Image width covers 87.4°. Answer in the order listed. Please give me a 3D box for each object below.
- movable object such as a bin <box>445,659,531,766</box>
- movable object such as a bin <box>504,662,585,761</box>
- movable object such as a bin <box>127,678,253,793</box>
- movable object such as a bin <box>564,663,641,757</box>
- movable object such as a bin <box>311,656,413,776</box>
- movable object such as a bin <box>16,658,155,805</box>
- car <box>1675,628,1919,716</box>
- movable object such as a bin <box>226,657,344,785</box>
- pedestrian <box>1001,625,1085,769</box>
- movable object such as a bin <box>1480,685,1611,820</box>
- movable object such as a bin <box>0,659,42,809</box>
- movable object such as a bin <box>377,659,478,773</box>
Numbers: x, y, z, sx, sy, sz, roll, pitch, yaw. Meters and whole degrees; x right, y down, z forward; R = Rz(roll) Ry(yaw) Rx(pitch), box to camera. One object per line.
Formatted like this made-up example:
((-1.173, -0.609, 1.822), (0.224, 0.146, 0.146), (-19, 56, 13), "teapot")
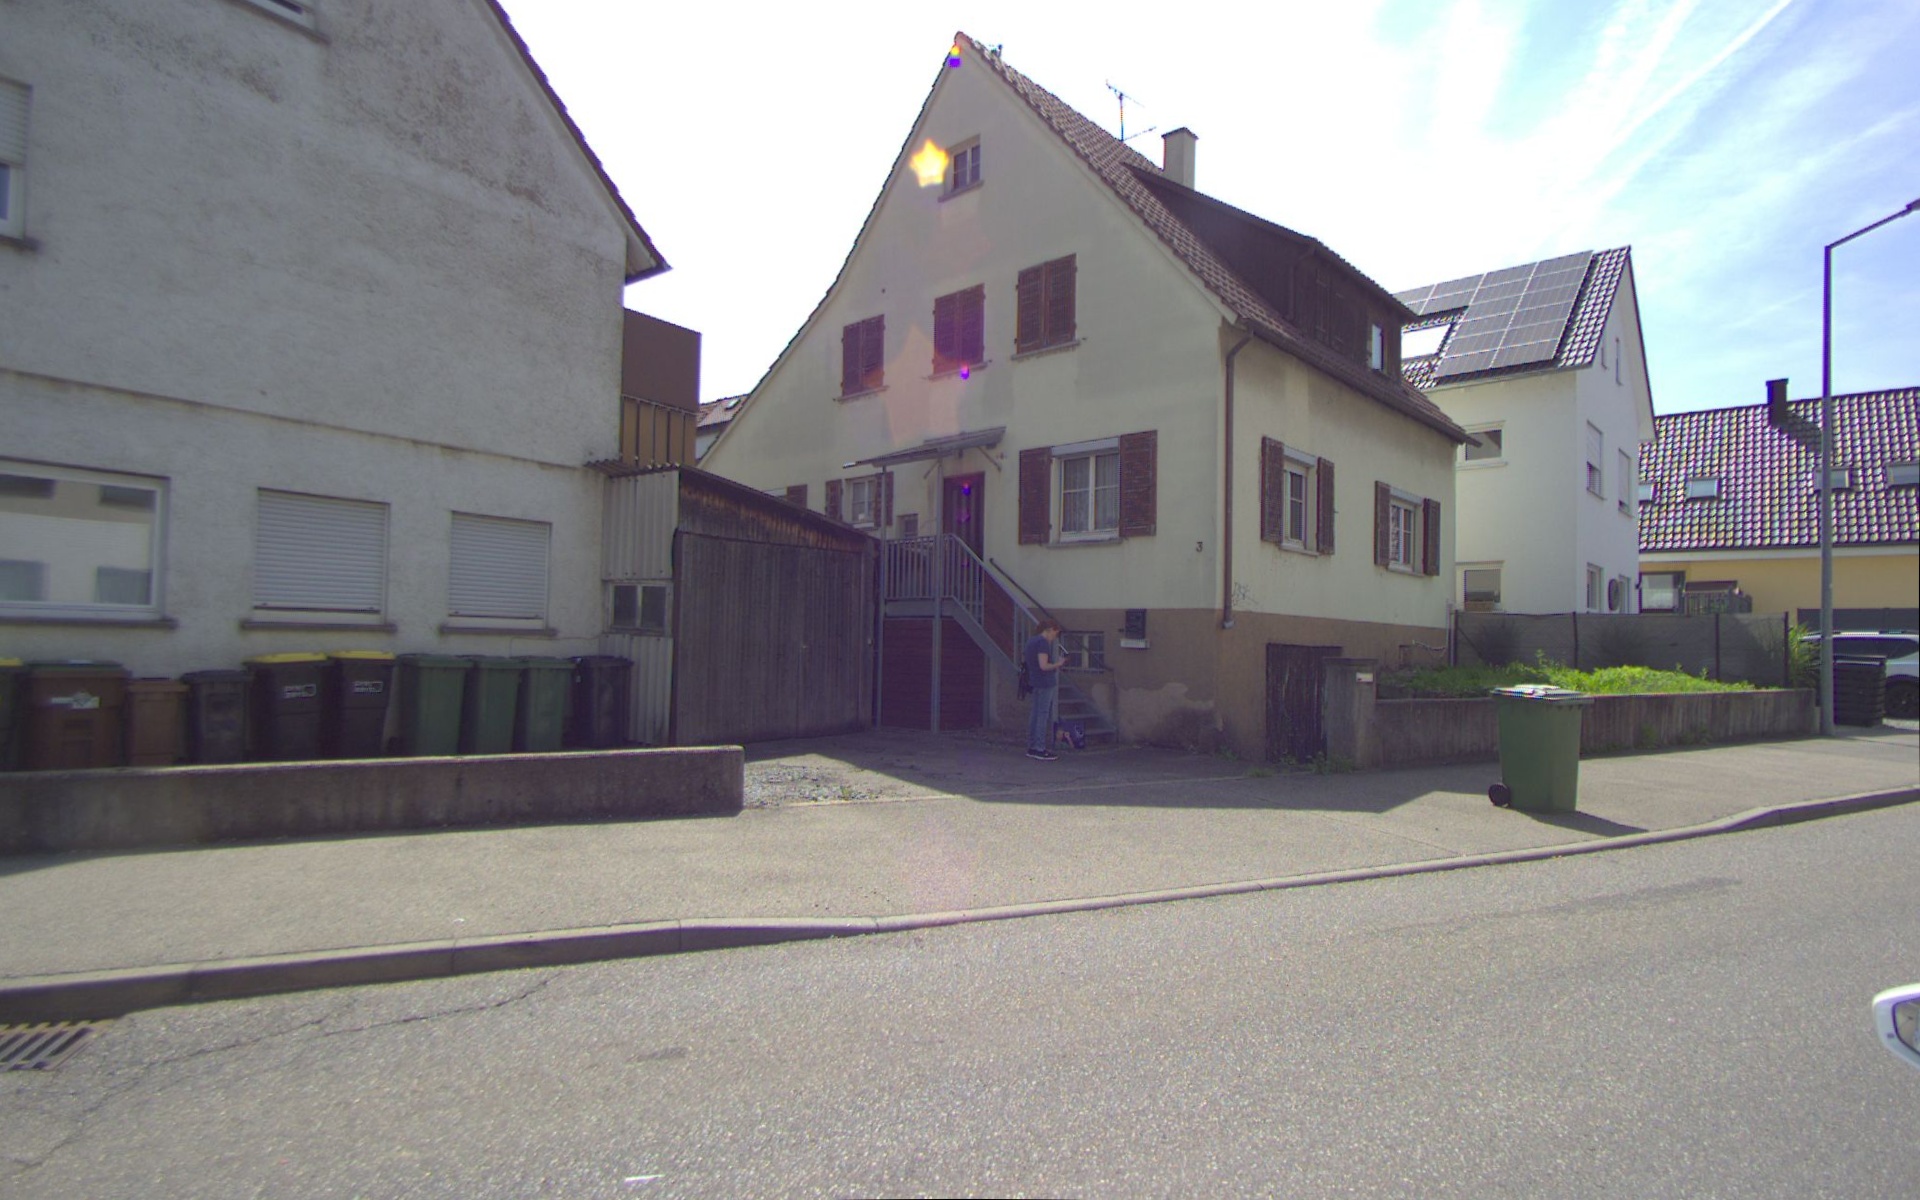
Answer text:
((-5.168, 1.205, 11.006), (0.669, 1.096, 0.582), (0, -1, 35), "movable object such as a bin")
((-4.748, 1.252, 11.475), (0.619, 1.049, 0.602), (0, -1, 35), "movable object such as a bin")
((-6.763, 1.162, 8.829), (0.674, 0.908, 0.696), (0, -1, 35), "movable object such as a bin")
((-4.253, 1.286, 11.957), (0.620, 1.047, 0.611), (0, -1, 35), "movable object such as a bin")
((-5.912, 1.121, 9.933), (0.674, 1.096, 0.624), (0, -1, 35), "movable object such as a bin")
((-7.161, 1.039, 8.232), (0.674, 1.100, 0.696), (0, -1, 35), "movable object such as a bin")
((17.702, 1.432, 20.851), (1.985, 1.644, 4.363), (3, -3, -41), "car")
((-6.288, 1.098, 9.367), (0.674, 1.096, 0.696), (0, -1, 35), "movable object such as a bin")
((0.961, 1.095, 11.708), (0.622, 1.595, 0.771), (1, -1, -38), "pedestrian")
((5.149, 1.312, 8.858), (0.644, 1.071, 0.787), (1, -2, -32), "movable object such as a bin")
((-7.540, 1.021, 7.662), (0.674, 1.100, 0.643), (0, -1, 35), "movable object such as a bin")
((-5.576, 1.187, 10.518), (0.729, 1.096, 0.658), (0, -1, 35), "movable object such as a bin")
